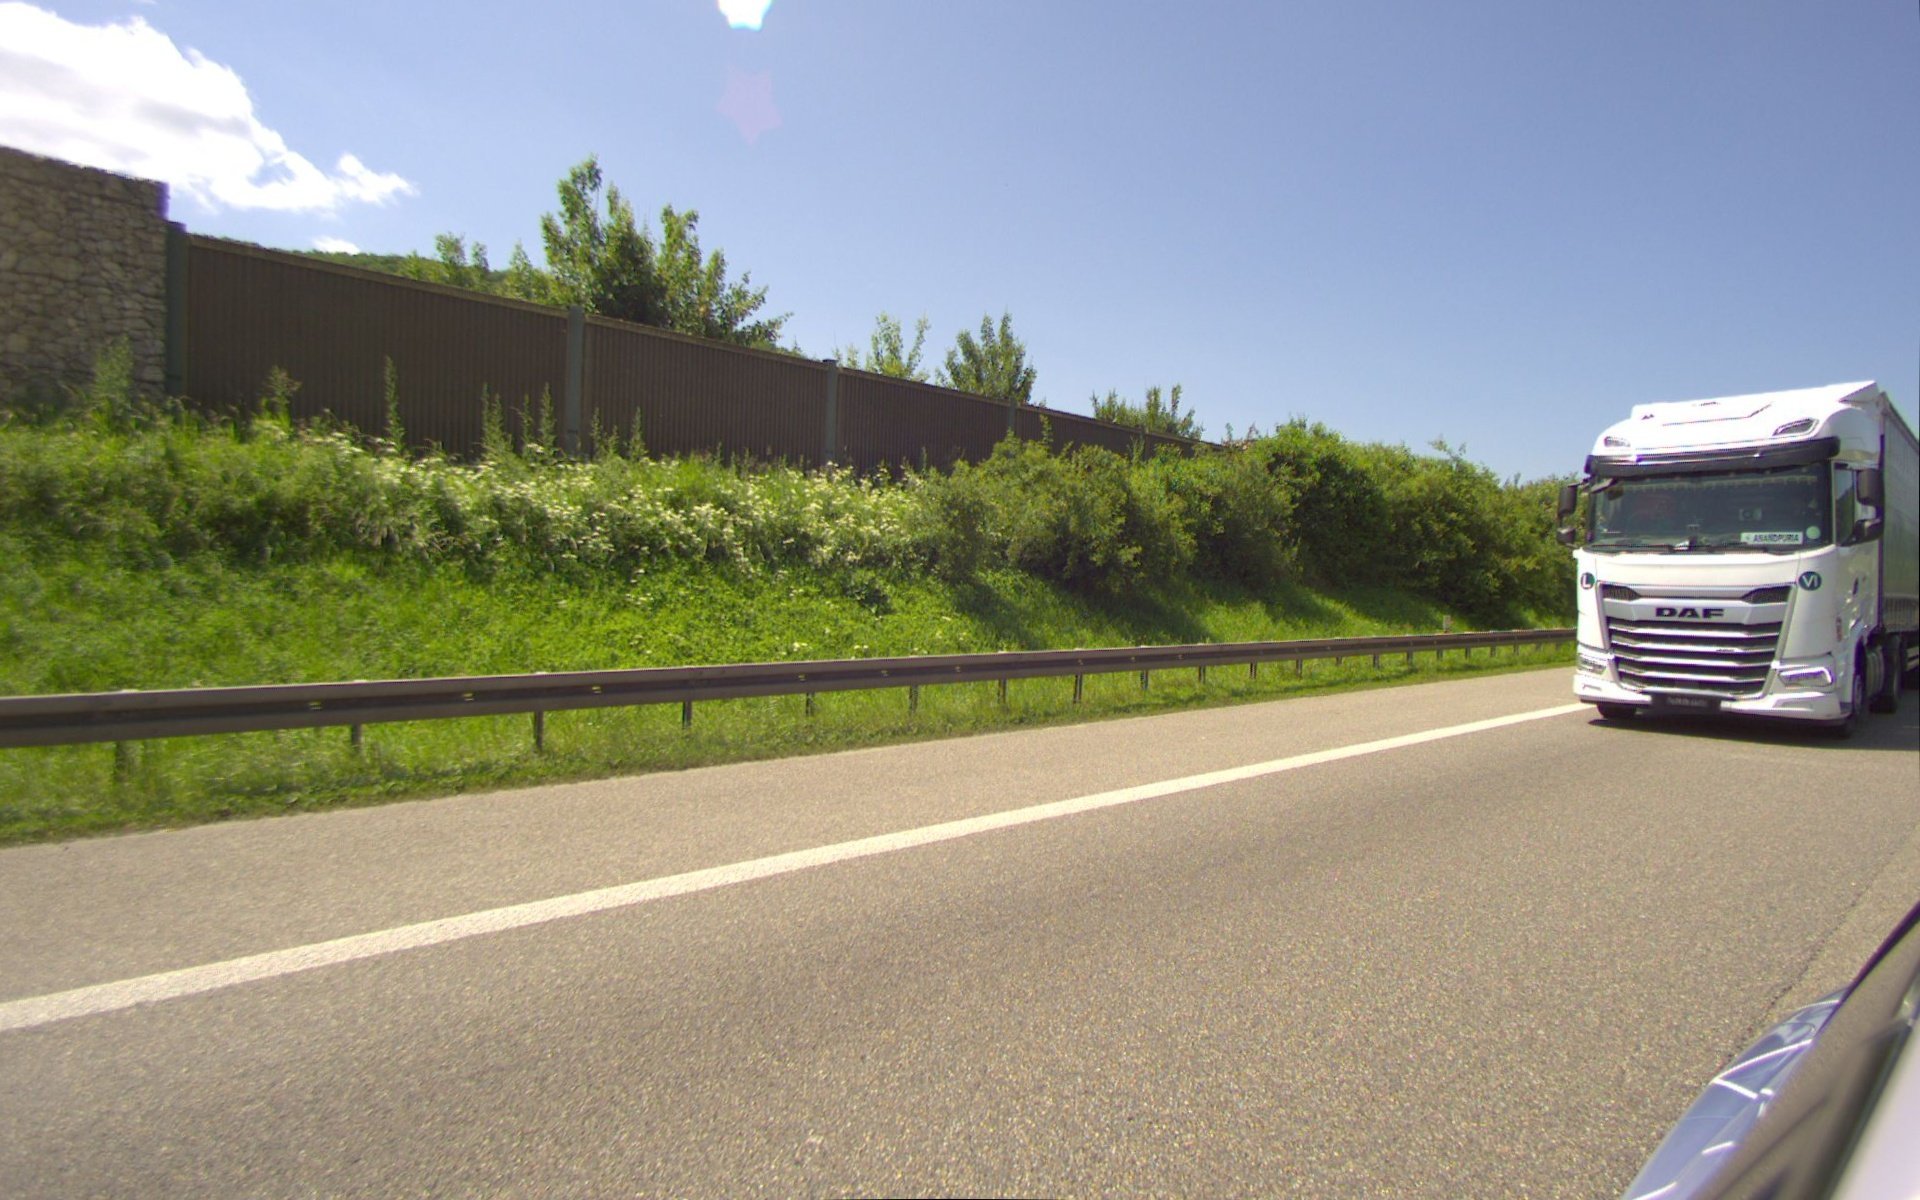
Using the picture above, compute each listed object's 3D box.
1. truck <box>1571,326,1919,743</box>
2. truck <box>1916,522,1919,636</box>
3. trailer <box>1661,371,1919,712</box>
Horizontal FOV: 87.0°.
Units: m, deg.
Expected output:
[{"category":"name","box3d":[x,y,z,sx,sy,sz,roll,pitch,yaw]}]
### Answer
[{"category":"truck","box3d":[10.176,-0.663,12.823,6.272,4.027,2.481,0,1,-43]},{"category":"truck","box3d":[37.991,-0.797,38.140,5.979,4.140,2.527,-1,0,-44]},{"category":"trailer","box3d":[15.339,-0.730,17.422,13.423,4.027,2.481,0,1,-43]}]
